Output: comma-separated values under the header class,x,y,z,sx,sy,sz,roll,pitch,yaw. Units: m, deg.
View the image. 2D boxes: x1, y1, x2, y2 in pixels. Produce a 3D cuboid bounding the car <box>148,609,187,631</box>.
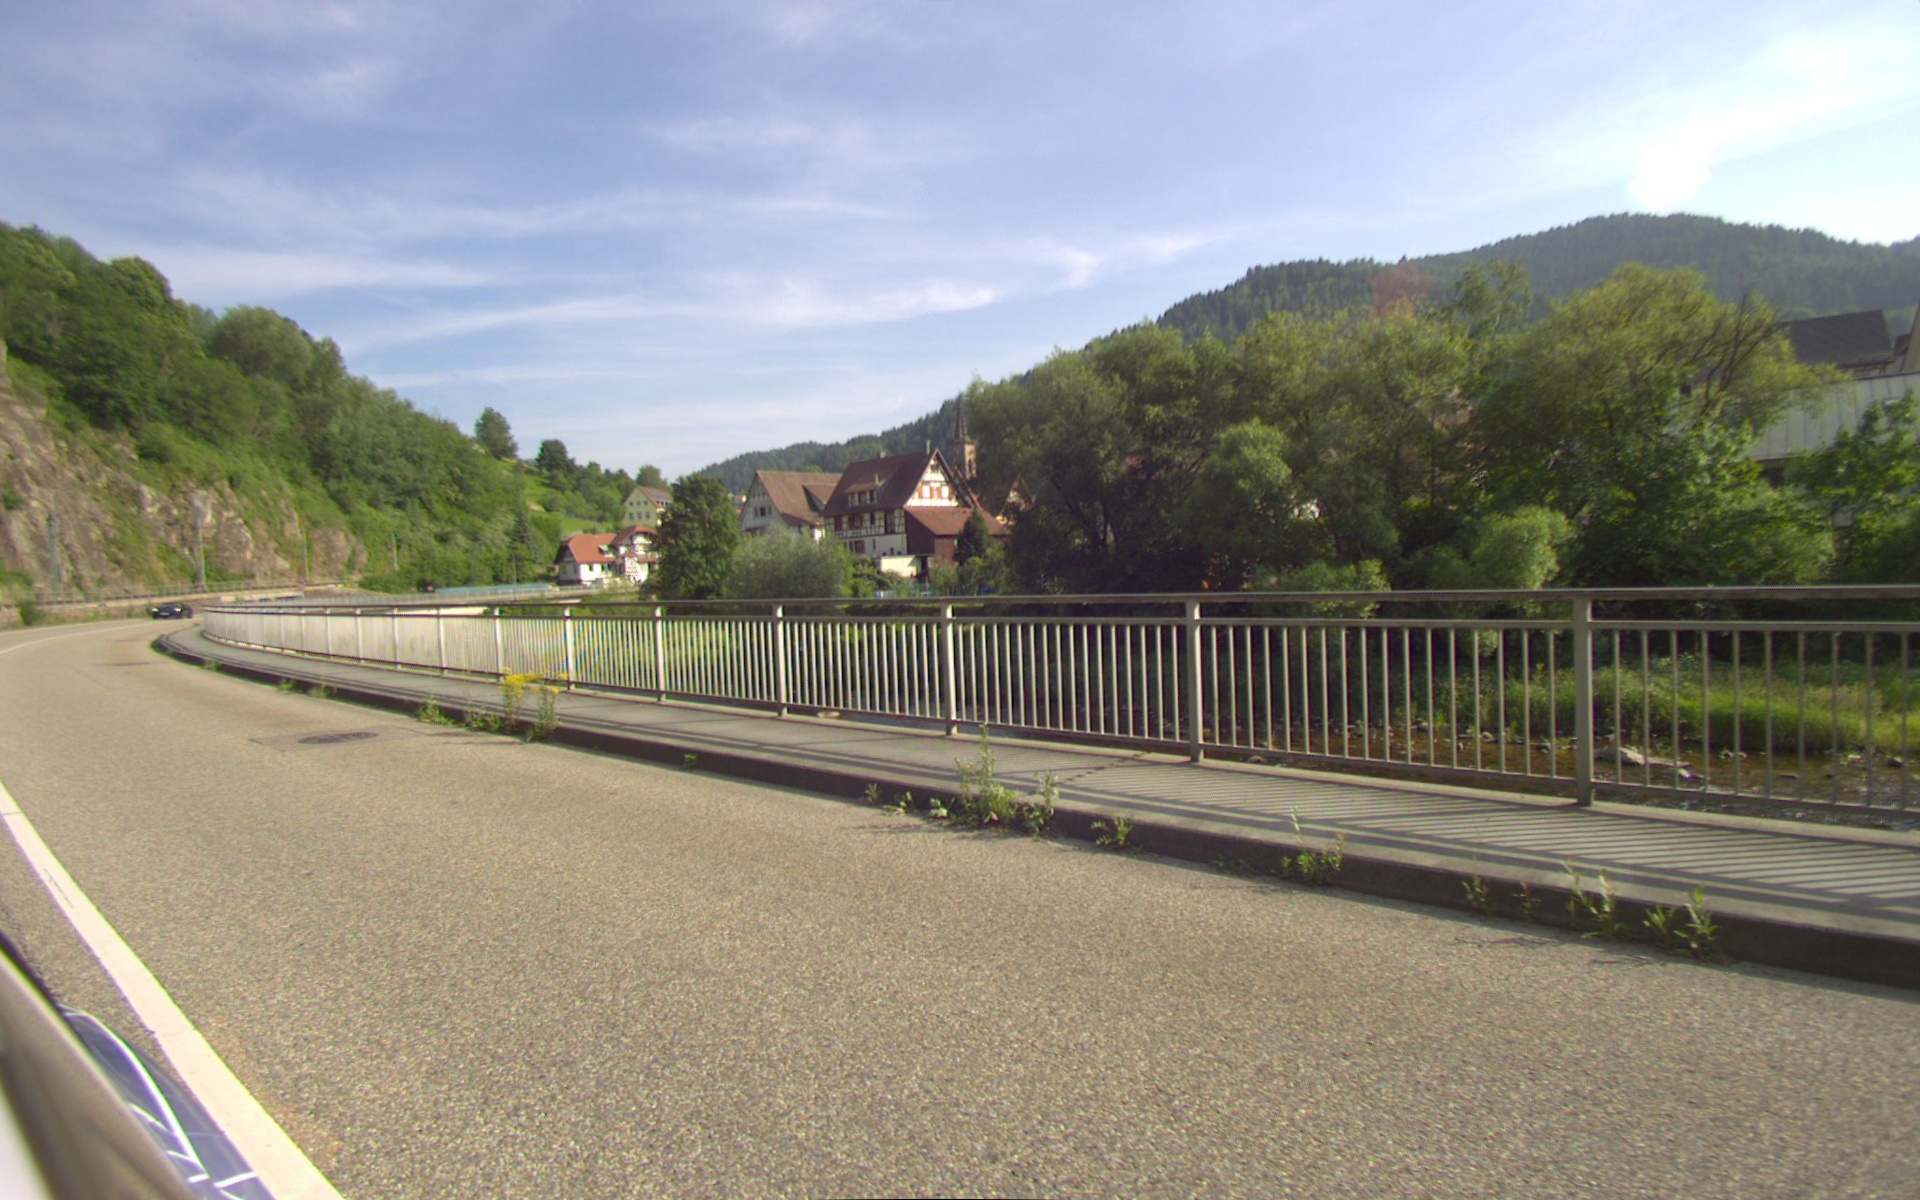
class,x,y,z,sx,sy,sz,roll,pitch,yaw
car,-60.502,1.537,77.286,1.675,1.533,3.483,3,-4,-28
